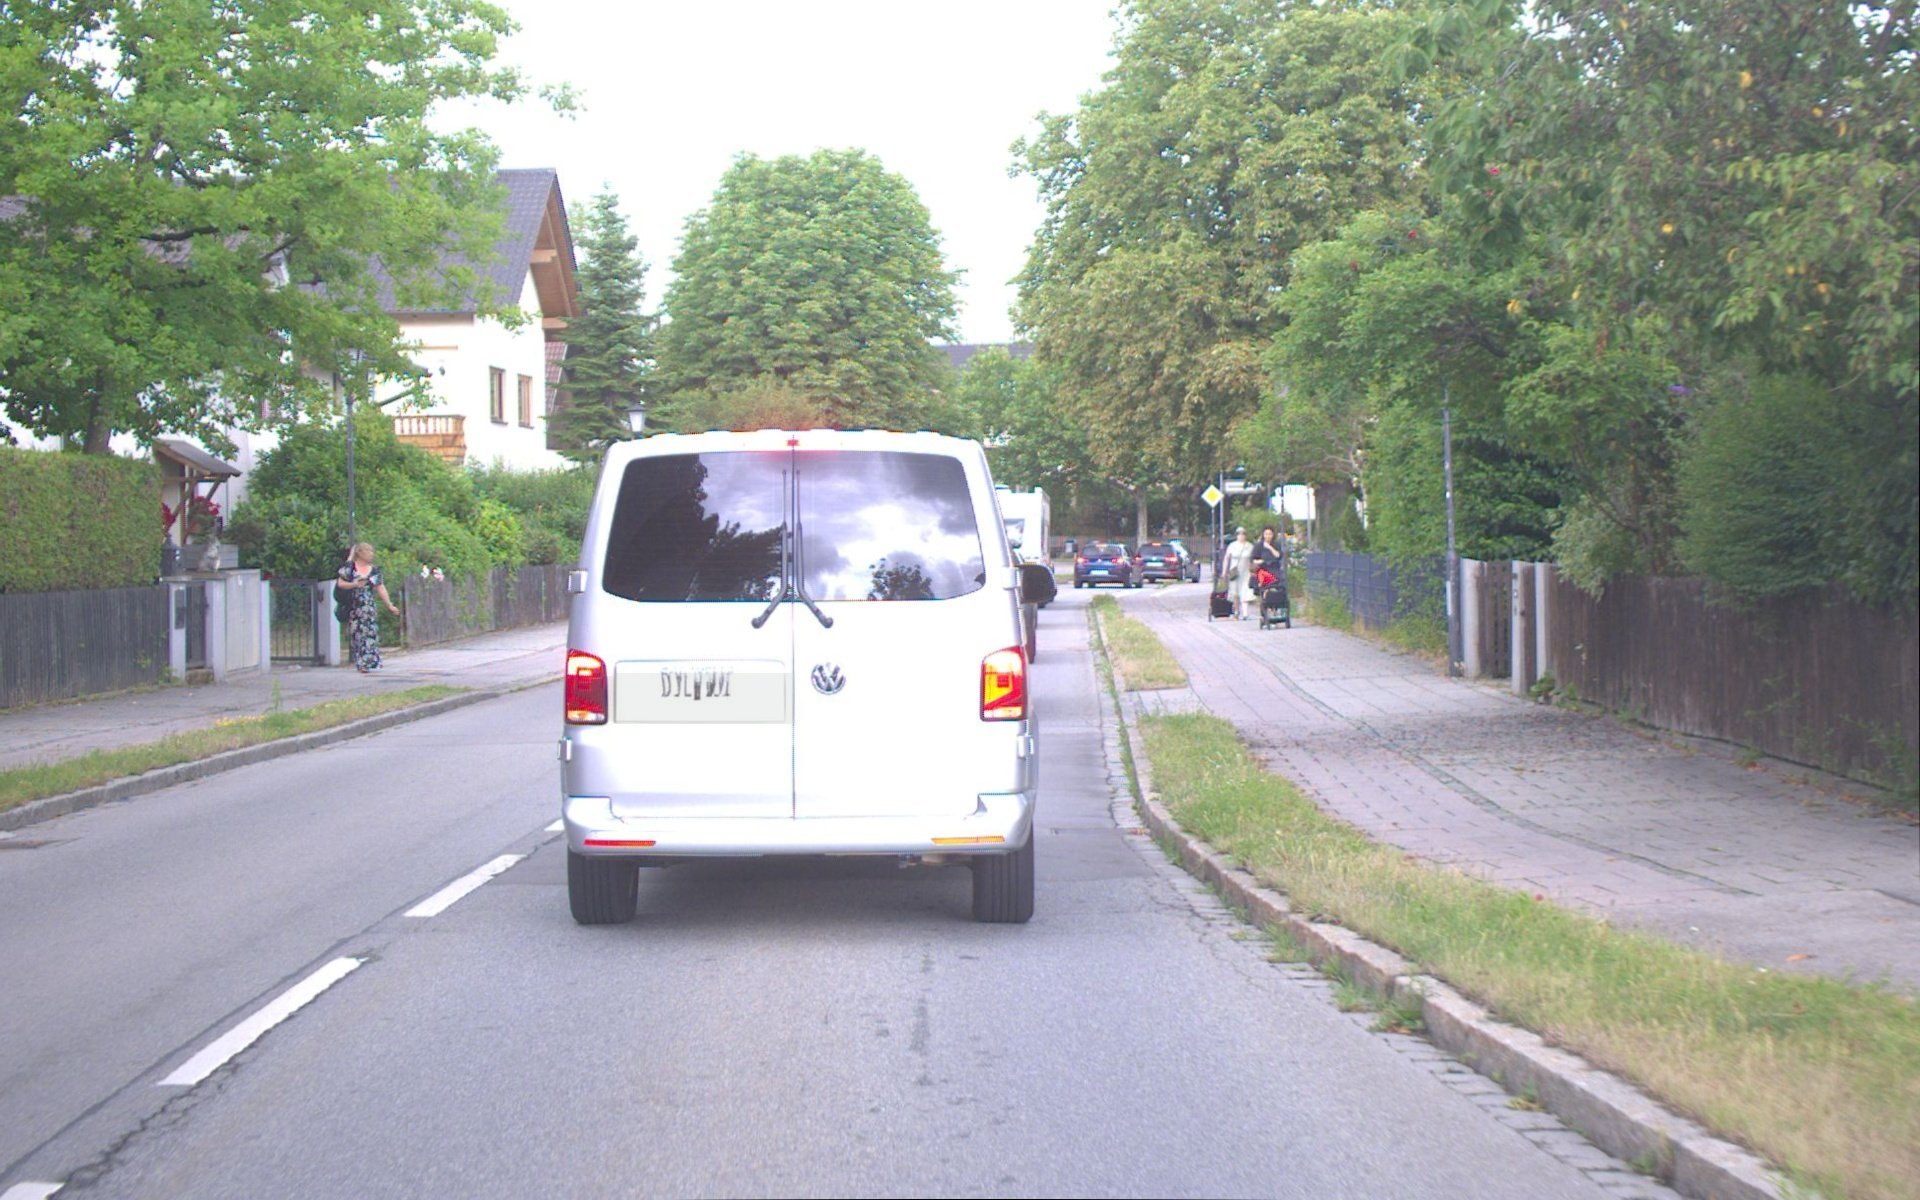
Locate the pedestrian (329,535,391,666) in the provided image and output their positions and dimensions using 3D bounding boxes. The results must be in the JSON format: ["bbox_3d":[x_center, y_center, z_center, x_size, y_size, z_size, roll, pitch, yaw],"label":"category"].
[{"bbox_3d":[-7.156,0.007,40.985,0.622,1.544,0.522,1,1,-21],"label":"pedestrian"}]

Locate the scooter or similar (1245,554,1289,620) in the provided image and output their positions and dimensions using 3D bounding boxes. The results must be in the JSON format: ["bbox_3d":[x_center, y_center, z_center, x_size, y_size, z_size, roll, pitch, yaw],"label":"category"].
[{"bbox_3d":[4.534,-0.197,50.776,0.551,0.968,0.620,1,1,-2],"label":"scooter or similar"}]

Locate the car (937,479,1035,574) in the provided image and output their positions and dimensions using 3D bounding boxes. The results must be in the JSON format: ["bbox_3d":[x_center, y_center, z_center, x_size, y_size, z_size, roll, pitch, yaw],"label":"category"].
[{"bbox_3d":[0.608,-1.621,76.419,1.994,2.007,4.000,1,1,2],"label":"car"}]

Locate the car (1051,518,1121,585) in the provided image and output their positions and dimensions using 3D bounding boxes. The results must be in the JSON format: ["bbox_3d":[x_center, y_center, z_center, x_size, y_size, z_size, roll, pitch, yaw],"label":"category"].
[{"bbox_3d":[3.962,-1.528,107.477,1.994,2.007,4.000,-1,1,5],"label":"car"}]

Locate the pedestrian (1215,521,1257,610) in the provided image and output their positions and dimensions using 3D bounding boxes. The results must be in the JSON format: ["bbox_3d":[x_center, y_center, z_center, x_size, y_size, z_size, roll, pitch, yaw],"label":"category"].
[{"bbox_3d":[4.742,-0.598,59.142,0.622,1.518,0.579,1,1,-2],"label":"pedestrian"}]

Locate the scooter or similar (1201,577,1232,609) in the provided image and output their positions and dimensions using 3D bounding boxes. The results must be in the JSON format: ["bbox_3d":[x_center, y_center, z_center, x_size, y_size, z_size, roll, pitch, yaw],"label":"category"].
[{"bbox_3d":[4.450,-0.119,59.724,0.474,0.543,0.459,1,1,-2],"label":"scooter or similar"}]

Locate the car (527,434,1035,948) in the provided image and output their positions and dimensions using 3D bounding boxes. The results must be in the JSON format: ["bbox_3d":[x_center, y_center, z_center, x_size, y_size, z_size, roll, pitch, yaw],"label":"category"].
[{"bbox_3d":[-0.635,0.309,14.797,1.888,1.905,4.000,0,1,1],"label":"car"}]

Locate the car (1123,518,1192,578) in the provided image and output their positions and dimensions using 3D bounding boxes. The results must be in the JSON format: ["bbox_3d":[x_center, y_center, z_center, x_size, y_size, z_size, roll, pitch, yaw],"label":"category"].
[{"bbox_3d":[6.781,-1.785,117.513,1.994,2.007,3.999,-1,1,8],"label":"car"}]

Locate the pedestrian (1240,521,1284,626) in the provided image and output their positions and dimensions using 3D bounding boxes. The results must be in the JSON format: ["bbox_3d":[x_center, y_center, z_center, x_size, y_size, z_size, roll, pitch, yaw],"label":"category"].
[{"bbox_3d":[4.514,-0.401,51.459,0.551,1.544,0.612,1,1,-2],"label":"pedestrian"}]
